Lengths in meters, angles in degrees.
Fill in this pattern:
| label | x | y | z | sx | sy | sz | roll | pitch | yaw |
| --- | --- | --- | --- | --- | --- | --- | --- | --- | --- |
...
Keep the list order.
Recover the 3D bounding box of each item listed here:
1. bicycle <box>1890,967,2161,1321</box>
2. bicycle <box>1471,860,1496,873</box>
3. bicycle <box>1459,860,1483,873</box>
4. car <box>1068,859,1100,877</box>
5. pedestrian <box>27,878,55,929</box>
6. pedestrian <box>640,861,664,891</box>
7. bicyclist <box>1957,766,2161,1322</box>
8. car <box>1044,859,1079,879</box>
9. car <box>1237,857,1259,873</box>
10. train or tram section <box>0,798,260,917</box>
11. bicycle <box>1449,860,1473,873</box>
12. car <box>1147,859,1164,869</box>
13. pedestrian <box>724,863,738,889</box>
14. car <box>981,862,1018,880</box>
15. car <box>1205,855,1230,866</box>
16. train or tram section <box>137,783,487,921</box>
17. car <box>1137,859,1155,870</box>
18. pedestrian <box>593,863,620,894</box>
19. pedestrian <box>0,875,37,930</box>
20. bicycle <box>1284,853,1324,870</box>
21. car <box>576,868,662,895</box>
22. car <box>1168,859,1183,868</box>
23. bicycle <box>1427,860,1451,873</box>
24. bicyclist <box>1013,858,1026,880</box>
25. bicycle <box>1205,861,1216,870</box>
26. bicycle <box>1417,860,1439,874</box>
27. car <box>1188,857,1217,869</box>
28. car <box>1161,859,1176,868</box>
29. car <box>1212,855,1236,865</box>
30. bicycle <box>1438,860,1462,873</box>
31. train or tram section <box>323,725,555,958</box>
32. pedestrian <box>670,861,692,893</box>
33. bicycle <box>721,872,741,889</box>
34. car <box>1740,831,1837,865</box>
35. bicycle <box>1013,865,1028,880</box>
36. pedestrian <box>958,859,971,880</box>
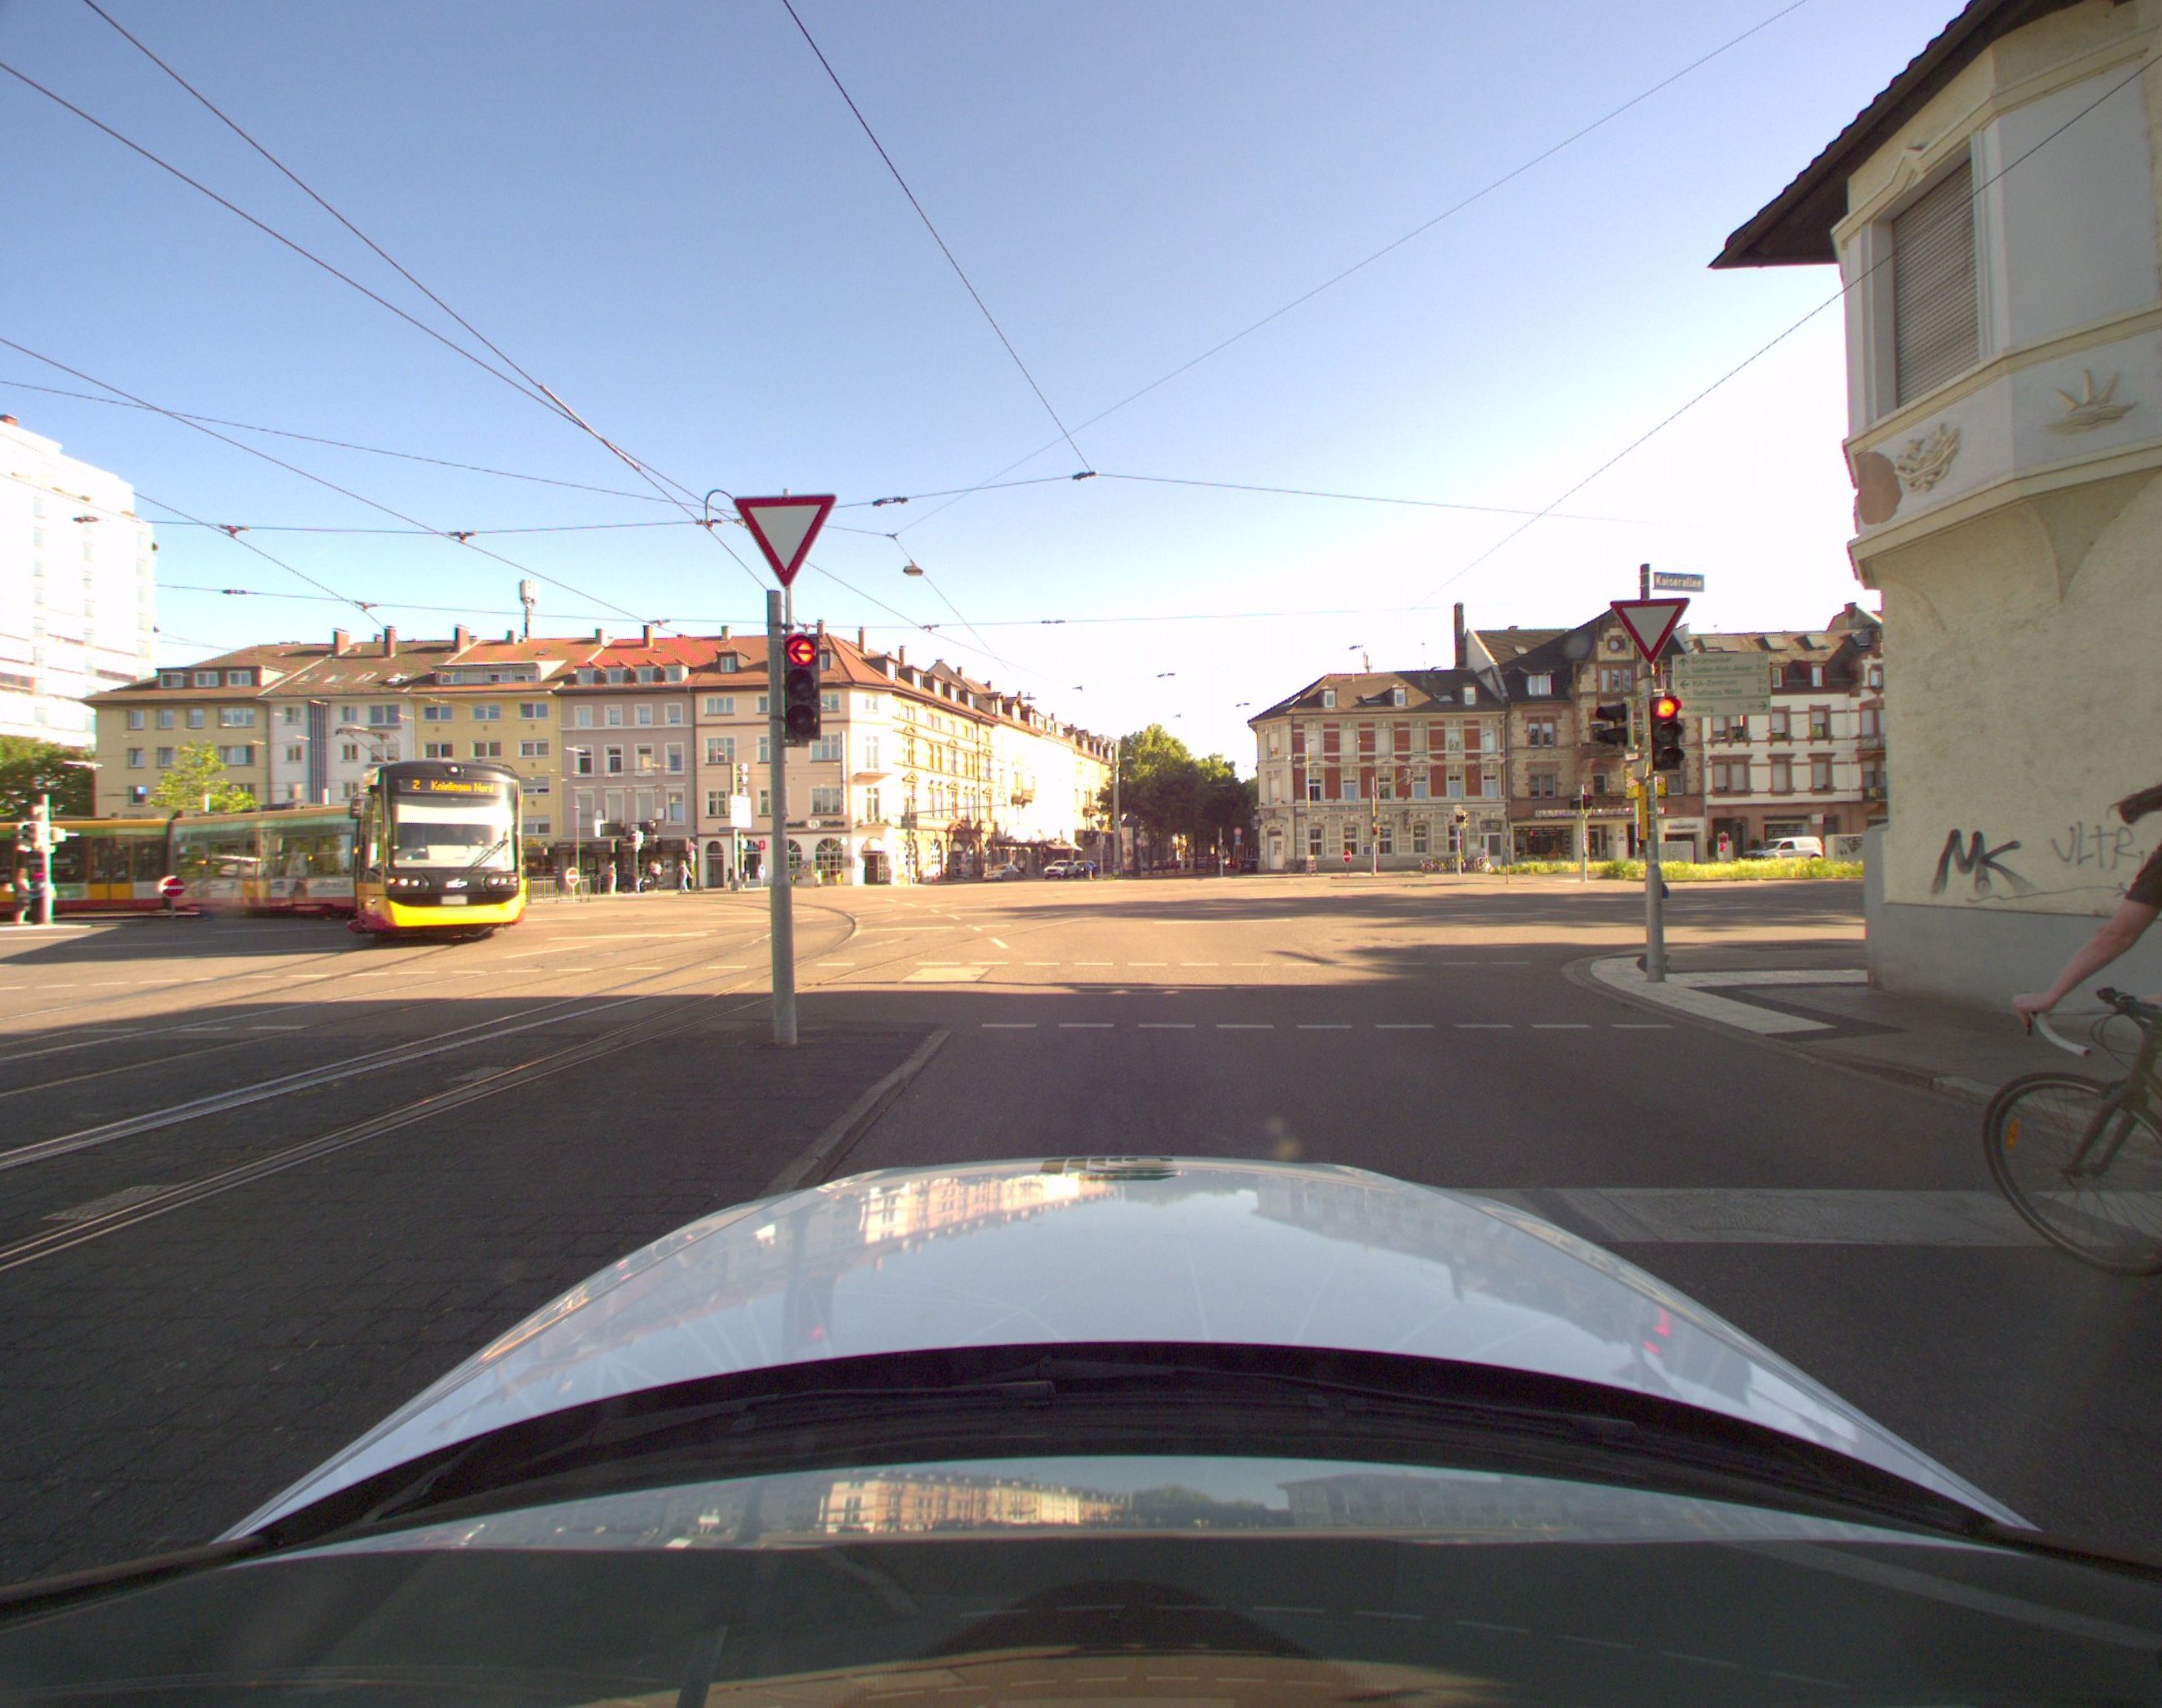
| label | x | y | z | sx | sy | sz | roll | pitch | yaw |
| --- | --- | --- | --- | --- | --- | --- | --- | --- | --- |
| bicycle | 3.598 | 0.958 | 2.495 | 0.516 | 0.970 | 1.750 | -1 | 0 | 2 |
| bicycle | 26.013 | 0.799 | 52.701 | 0.656 | 0.840 | 2.162 | 0 | -1 | 3 |
| bicycle | 25.209 | 0.805 | 52.686 | 0.656 | 0.840 | 2.162 | 0 | -1 | 3 |
| car | 0.314 | 1.243 | 73.757 | 1.664 | 1.483 | 3.967 | -2 | 0 | 19 |
| pedestrian | -31.914 | 1.500 | 24.982 | 0.456 | 1.505 | 0.485 | -1 | 1 | 38 |
| pedestrian | -22.649 | 1.169 | 42.995 | 0.720 | 1.577 | 0.836 | -1 | -1 | 11 |
| bicyclist | 3.573 | 0.576 | 2.487 | 0.570 | 1.701 | 1.117 | -1 | 0 | 2 |
| car | -1.599 | 1.216 | 67.497 | 1.664 | 1.483 | 3.789 | -2 | 0 | 19 |
| car | 16.912 | 1.099 | 82.319 | 1.664 | 1.483 | 3.967 | -2 | 0 | 19 |
| train or tram section | -36.228 | 0.194 | 28.659 | 12.031 | 3.814 | 2.944 | -1 | 0 | 3 |
| bicycle | 24.572 | 0.810 | 52.732 | 0.656 | 0.840 | 2.162 | 0 | -1 | 3 |
| car | 11.256 | 1.527 | 122.349 | 1.664 | 1.354 | 3.608 | -2 | 0 | 19 |
| pedestrian | -22.761 | 1.397 | 53.009 | 0.580 | 1.670 | 0.753 | 0 | -1 | 2 |
| car | -6.703 | 1.426 | 67.214 | 1.664 | 1.354 | 3.608 | -2 | 0 | 19 |
| car | 21.463 | 1.062 | 127.705 | 3.549 | 1.648 | 1.691 | -2 | 0 | 19 |
| train or tram section | -24.902 | 0.083 | 26.151 | 12.669 | 3.814 | 2.957 | -1 | 0 | 21 |
| car | 9.185 | 1.495 | 115.433 | 1.664 | 1.354 | 3.608 | -2 | 0 | 19 |
| pedestrian | -24.785 | 1.290 | 42.564 | 0.842 | 1.577 | 0.836 | -1 | -1 | 11 |
| pedestrian | -32.919 | 1.500 | 25.231 | 0.456 | 1.644 | 0.643 | -1 | 1 | 38 |
| bicycle | 15.608 | 0.501 | 57.044 | 2.547 | 1.174 | 0.818 | 0 | -1 | -1 |
| car | -30.361 | 1.792 | 53.628 | 4.347 | 1.711 | 2.308 | 0 | -1 | 4 |
| car | 15.735 | 1.524 | 135.587 | 1.664 | 1.354 | 3.608 | -2 | 0 | 19 |
| bicycle | 23.165 | 0.821 | 52.740 | 0.656 | 0.840 | 2.162 | 0 | -1 | 3 |
| bicyclist | -4.935 | 1.211 | 65.402 | 0.772 | 1.803 | 1.060 | -1 | -1 | 16 |
| bicycle | 15.780 | 1.393 | 99.265 | 0.636 | 1.021 | 1.839 | 0 | -1 | -12 |
| bicycle | 22.430 | 0.826 | 52.681 | 0.656 | 0.840 | 2.162 | 0 | -1 | 3 |
| car | 17.216 | 1.259 | 115.440 | 3.870 | 1.648 | 1.691 | -2 | 0 | 19 |
| car | 14.048 | 1.505 | 130.594 | 1.664 | 1.354 | 3.608 | -2 | 0 | 19 |
| car | 23.369 | 0.968 | 133.138 | 3.549 | 1.648 | 1.691 | -2 | 0 | 19 |
| bicycle | 23.889 | 0.815 | 52.725 | 0.656 | 0.840 | 2.162 | 0 | -1 | 3 |
| train or tram section | -15.461 | -0.112 | 18.947 | 2.958 | 3.814 | 12.892 | -1 | 0 | -44 |
| pedestrian | -20.035 | 1.132 | 40.818 | 0.545 | 1.577 | 0.838 | -1 | -1 | 29 |
| bicycle | -22.759 | 1.691 | 52.993 | 0.570 | 1.077 | 1.497 | 0 | -1 | 2 |
| car | 45.447 | -0.382 | 52.383 | 4.406 | 2.013 | 2.002 | -1 | 0 | 4 |
| bicycle | -4.888 | 1.486 | 65.522 | 0.696 | 1.118 | 1.642 | -1 | -1 | 16 |
| pedestrian | -9.780 | 1.296 | 68.118 | 0.770 | 1.670 | 0.834 | -1 | -1 | 17 |
